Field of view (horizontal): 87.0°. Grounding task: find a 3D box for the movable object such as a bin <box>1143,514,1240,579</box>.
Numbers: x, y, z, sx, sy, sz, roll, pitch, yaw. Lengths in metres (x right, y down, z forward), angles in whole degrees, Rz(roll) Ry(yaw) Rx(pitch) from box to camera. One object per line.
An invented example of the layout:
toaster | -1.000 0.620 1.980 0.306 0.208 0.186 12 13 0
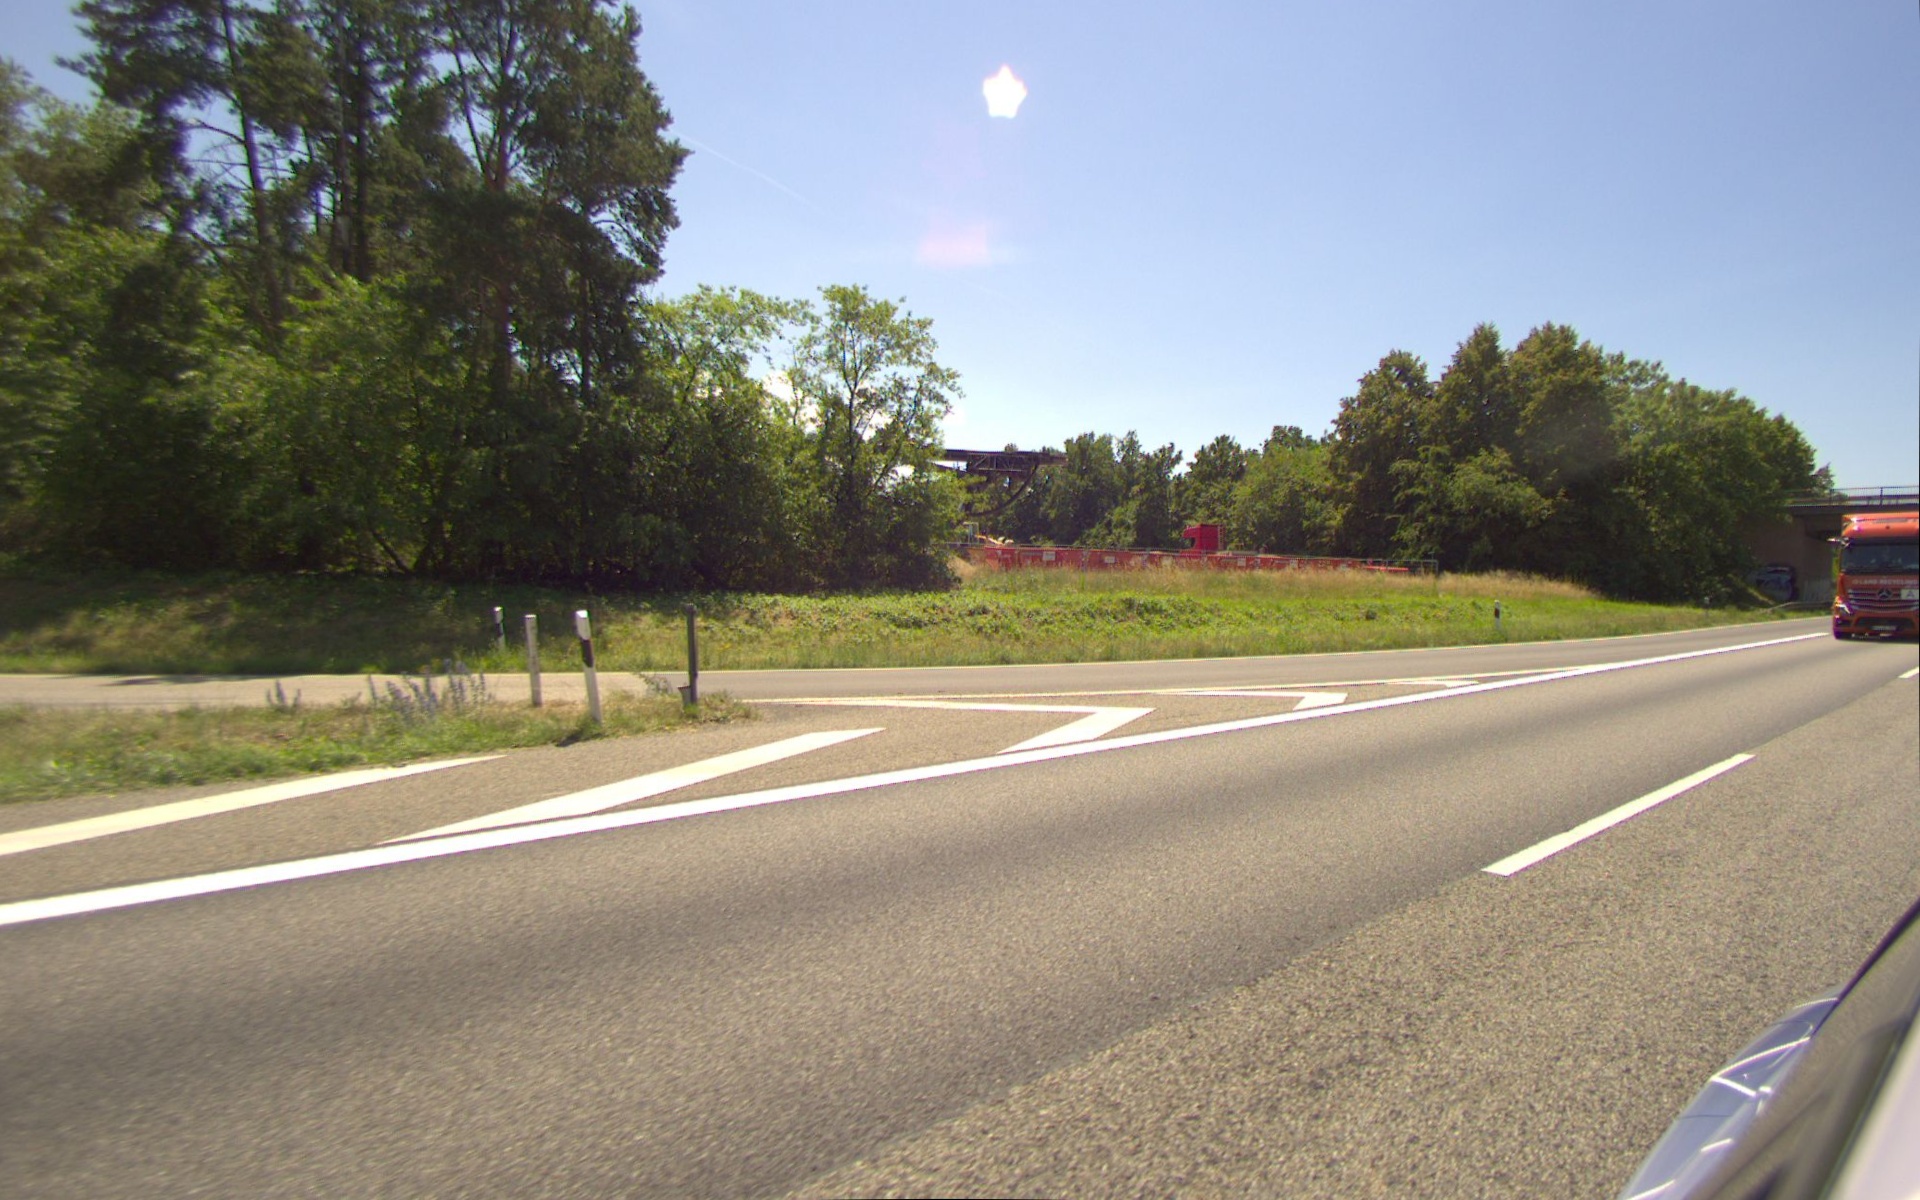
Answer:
movable object such as a bin | 16.517 -3.754 72.522 3.738 4.364 5.936 0 0 -31

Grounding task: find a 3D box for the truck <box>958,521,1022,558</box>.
truck | 2.766 -5.845 99.865 3.579 2.983 13.525 0 1 -10

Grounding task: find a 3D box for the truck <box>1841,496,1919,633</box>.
truck | 31.344 -1.046 32.772 12.261 3.846 2.685 -1 1 -41

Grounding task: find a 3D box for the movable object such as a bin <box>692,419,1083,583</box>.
movable object such as a bin | -3.314 -5.005 56.424 22.329 8.026 3.145 0 0 -27

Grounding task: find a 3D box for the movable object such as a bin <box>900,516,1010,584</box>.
movable object such as a bin | -0.291 -3.211 66.693 6.549 4.262 3.935 0 0 14
